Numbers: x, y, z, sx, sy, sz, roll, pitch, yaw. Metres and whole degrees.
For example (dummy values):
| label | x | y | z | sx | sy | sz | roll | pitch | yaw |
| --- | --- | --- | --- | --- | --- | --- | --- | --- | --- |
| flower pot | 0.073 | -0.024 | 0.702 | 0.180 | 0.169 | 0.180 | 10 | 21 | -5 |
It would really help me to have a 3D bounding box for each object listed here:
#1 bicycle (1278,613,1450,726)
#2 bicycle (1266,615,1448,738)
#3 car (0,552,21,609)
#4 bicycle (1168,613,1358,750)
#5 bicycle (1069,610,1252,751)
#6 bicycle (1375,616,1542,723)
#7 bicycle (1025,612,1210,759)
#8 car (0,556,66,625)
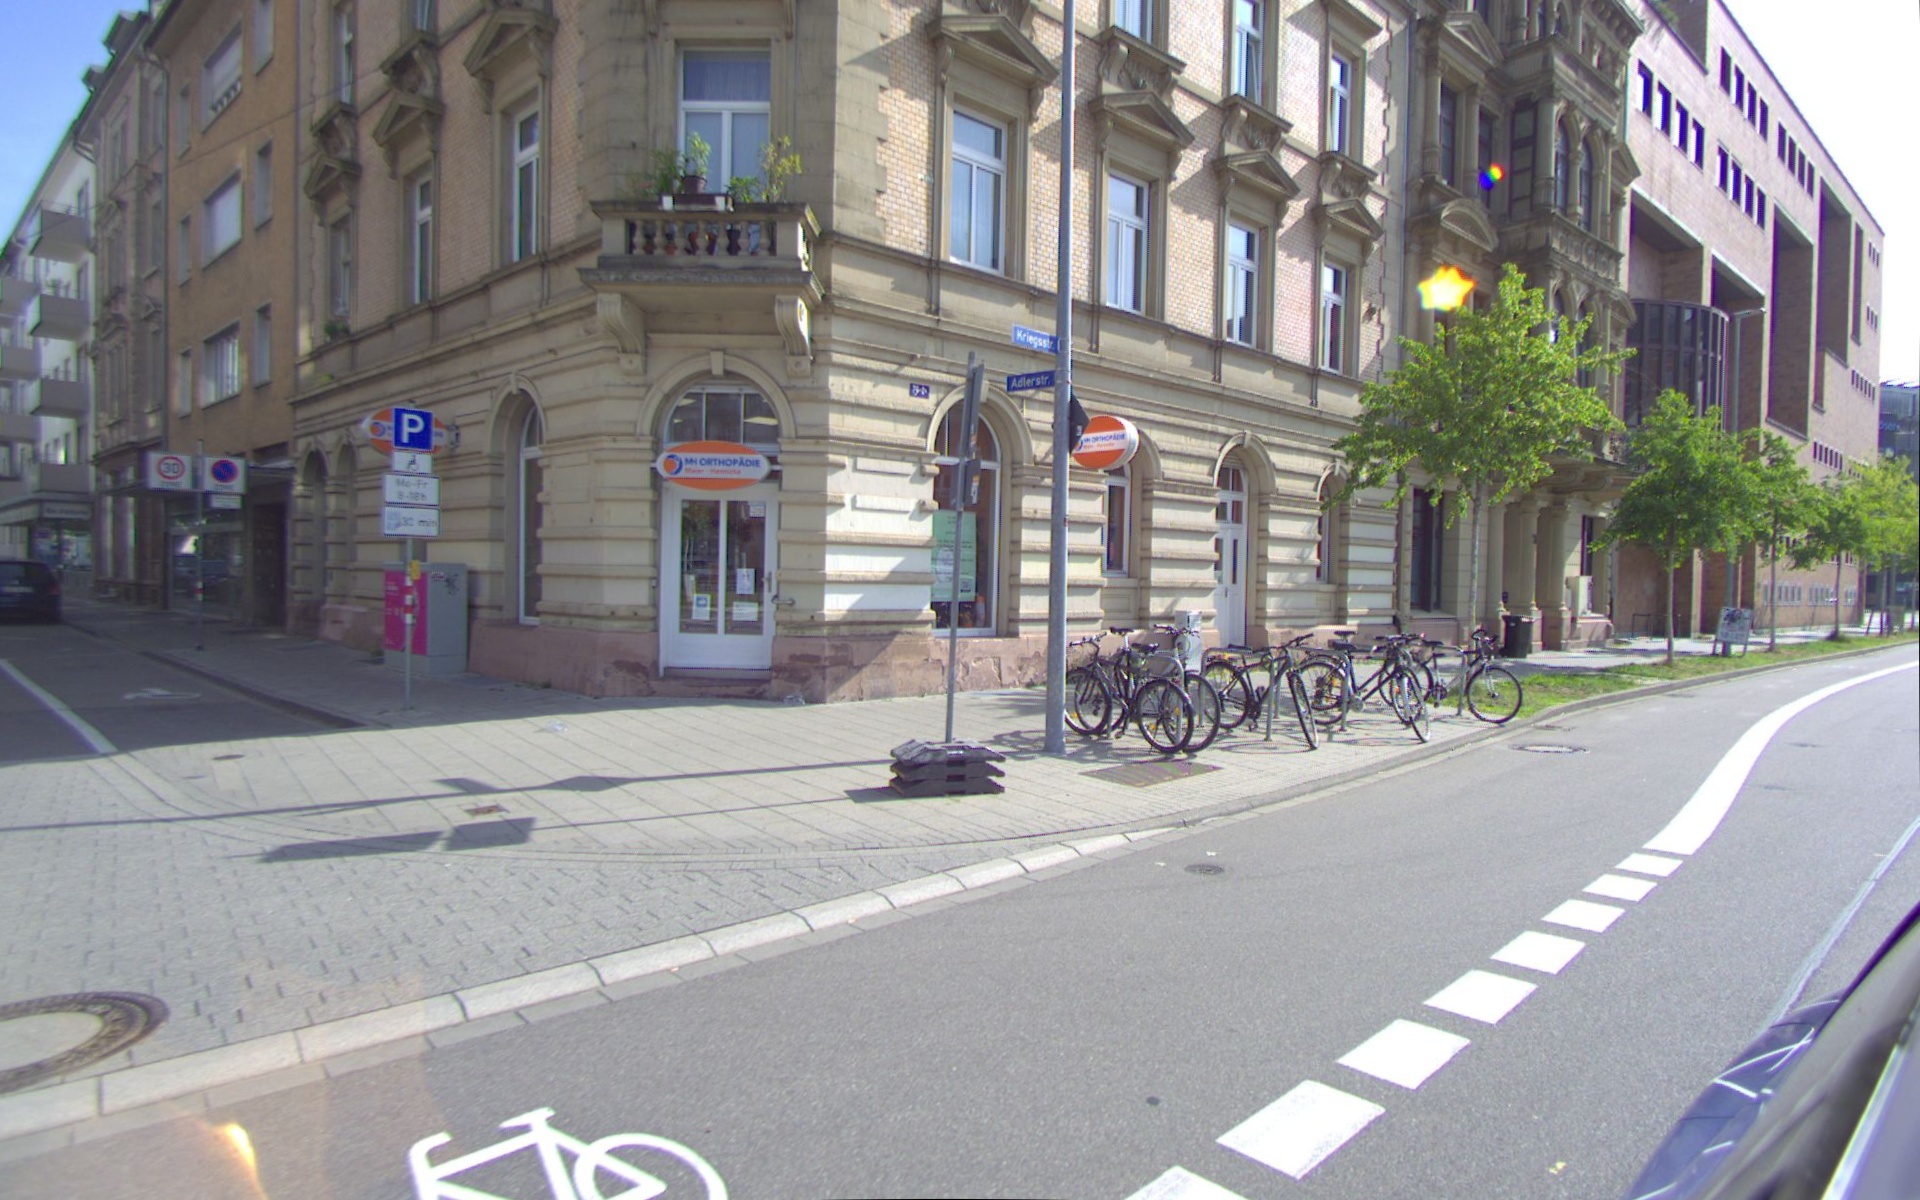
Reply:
| label | x | y | z | sx | sy | sz | roll | pitch | yaw |
| --- | --- | --- | --- | --- | --- | --- | --- | --- | --- |
| bicycle | 4.836 | 0.796 | 12.201 | 1.755 | 1.100 | 0.648 | 6 | 5 | 41 |
| bicycle | 4.355 | 0.801 | 11.139 | 1.745 | 1.100 | 0.666 | 5 | 4 | 28 |
| car | -26.397 | -0.558 | 27.017 | 3.616 | 1.437 | 1.639 | 3 | 2 | 42 |
| bicycle | 3.017 | 0.766 | 10.251 | 0.656 | 1.100 | 1.763 | 1 | 4 | -34 |
| bicycle | 1.875 | 0.714 | 9.707 | 0.572 | 1.100 | 1.758 | 1 | 3 | -36 |
| bicycle | 6.296 | 0.839 | 12.847 | 1.755 | 1.100 | 0.602 | 6 | 5 | 41 |
| bicycle | 1.403 | 0.725 | 9.349 | 0.572 | 1.100 | 1.758 | 1 | 3 | -36 |
| car | -21.873 | -0.272 | 23.145 | 3.792 | 1.437 | 1.716 | 3 | 2 | 42 |
